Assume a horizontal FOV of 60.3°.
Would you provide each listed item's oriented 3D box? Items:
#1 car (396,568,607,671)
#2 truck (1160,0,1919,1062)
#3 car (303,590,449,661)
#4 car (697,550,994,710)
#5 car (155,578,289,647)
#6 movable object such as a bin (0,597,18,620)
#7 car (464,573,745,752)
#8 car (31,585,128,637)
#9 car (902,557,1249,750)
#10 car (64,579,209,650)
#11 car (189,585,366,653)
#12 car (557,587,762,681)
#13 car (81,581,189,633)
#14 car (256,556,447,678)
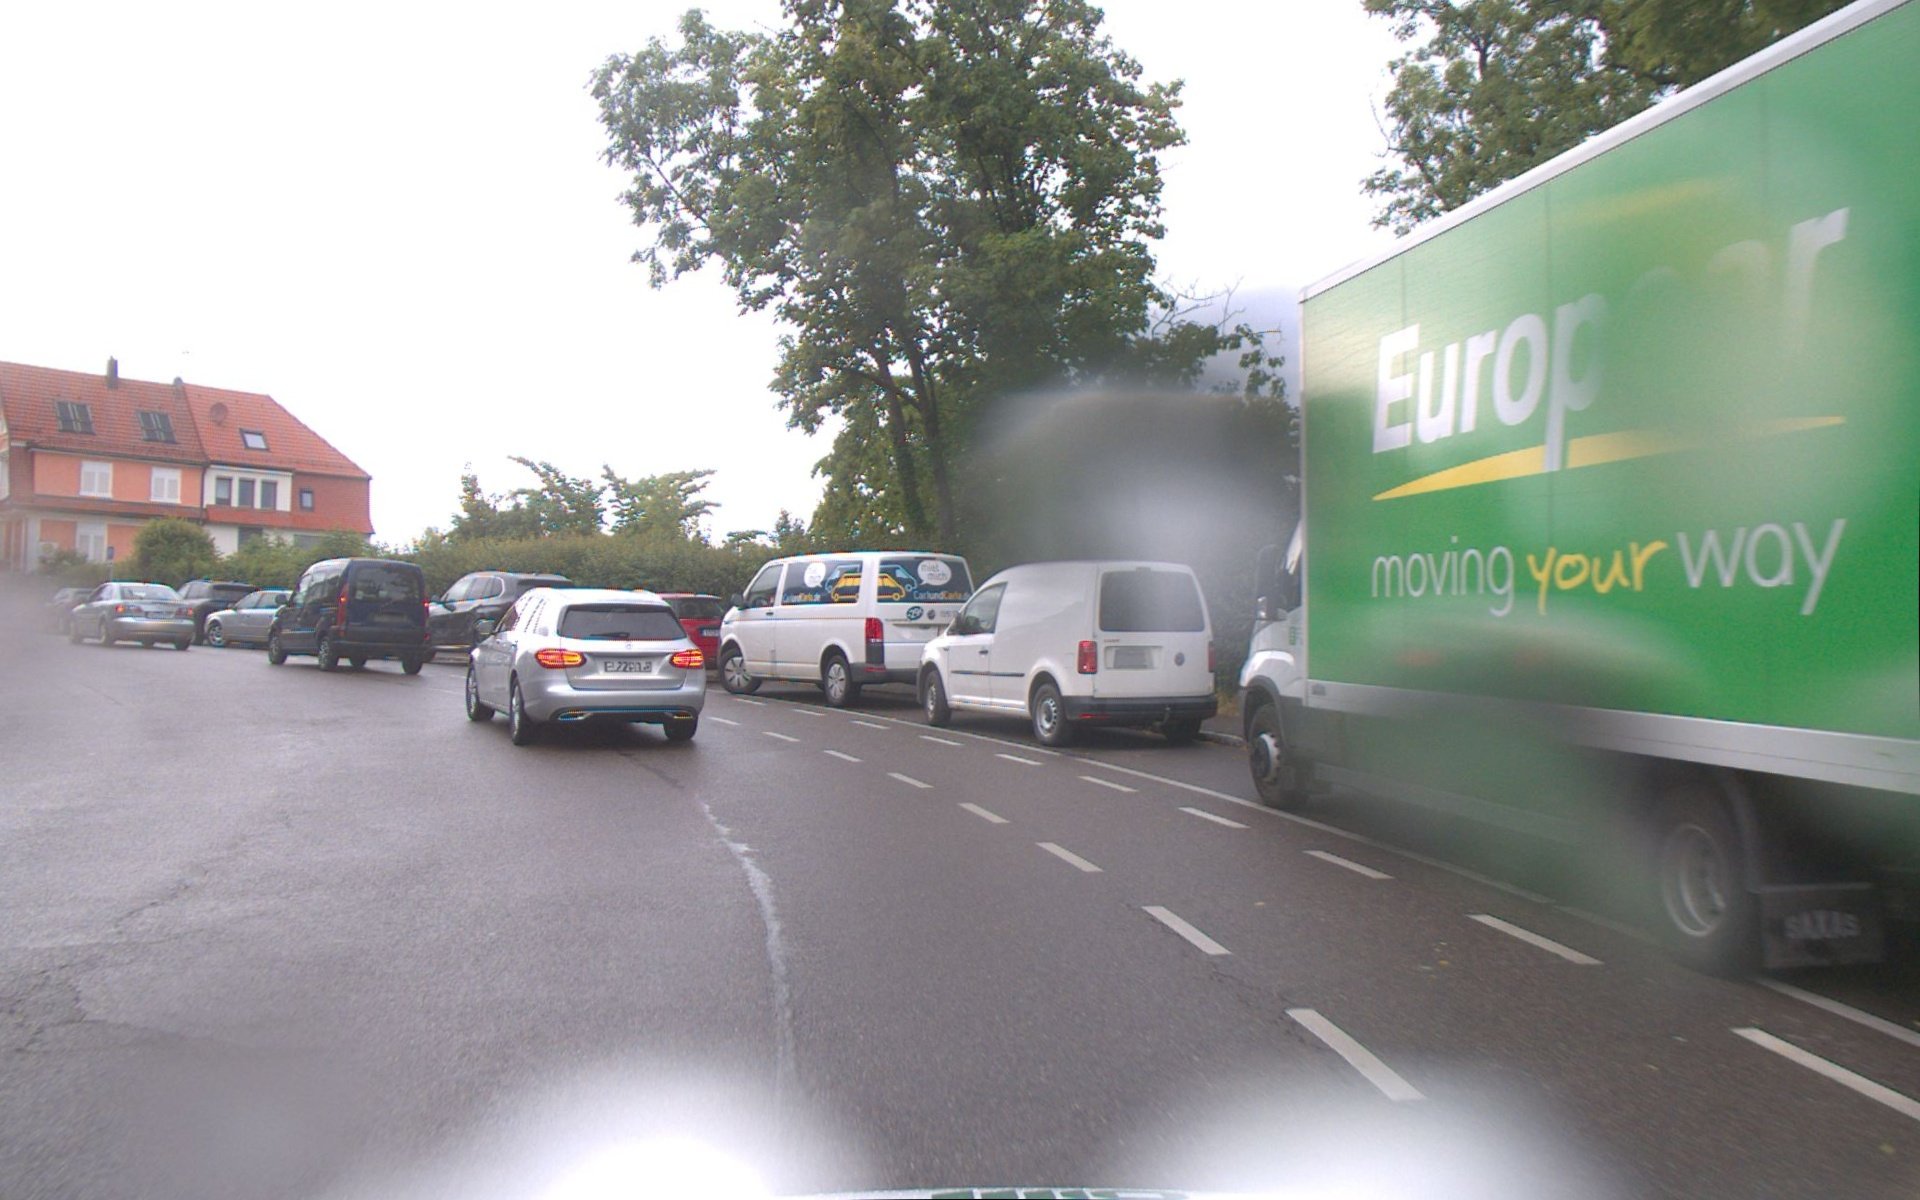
[{"bbox_3d":[-8.976,0.340,32.132,2.016,1.814,4.825,3,-1,-41],"label":"car"},{"bbox_3d":[3.710,-0.364,8.731,2.723,3.531,8.911,-1,0,-10],"label":"truck"},{"bbox_3d":[-12.818,0.550,36.204,1.678,1.447,3.924,3,-2,-41],"label":"car"},{"bbox_3d":[-1.708,0.351,22.991,1.846,1.982,4.744,1,0,-37],"label":"car"},{"bbox_3d":[-20.013,0.313,44.761,1.878,1.692,4.476,5,-3,-43],"label":"car"},{"bbox_3d":[-41.703,0.366,72.255,0.653,0.986,0.571,3,-3,16],"label":"movable object such as a bin"},{"bbox_3d":[-3.789,0.551,17.027,1.957,1.581,4.264,0,0,-25],"label":"car"},{"bbox_3d":[-28.822,0.356,54.094,1.745,1.557,4.140,5,-3,-42],"label":"car"},{"bbox_3d":[1.084,0.471,17.810,1.837,1.801,4.342,0,1,-26],"label":"car"},{"bbox_3d":[-18.420,0.351,36.917,1.845,1.484,4.030,-1,-1,-43],"label":"car"},{"bbox_3d":[-16.913,0.452,40.905,4.547,1.465,1.799,2,-2,34],"label":"car"},{"bbox_3d":[-5.126,0.552,27.952,1.663,1.438,3.683,3,-1,-43],"label":"car"},{"bbox_3d":[-25.065,0.200,50.194,1.704,1.430,4.536,5,-2,-42],"label":"car"},{"bbox_3d":[-10.440,0.260,28.230,1.813,1.915,4.036,-1,0,-40],"label":"car"}]
